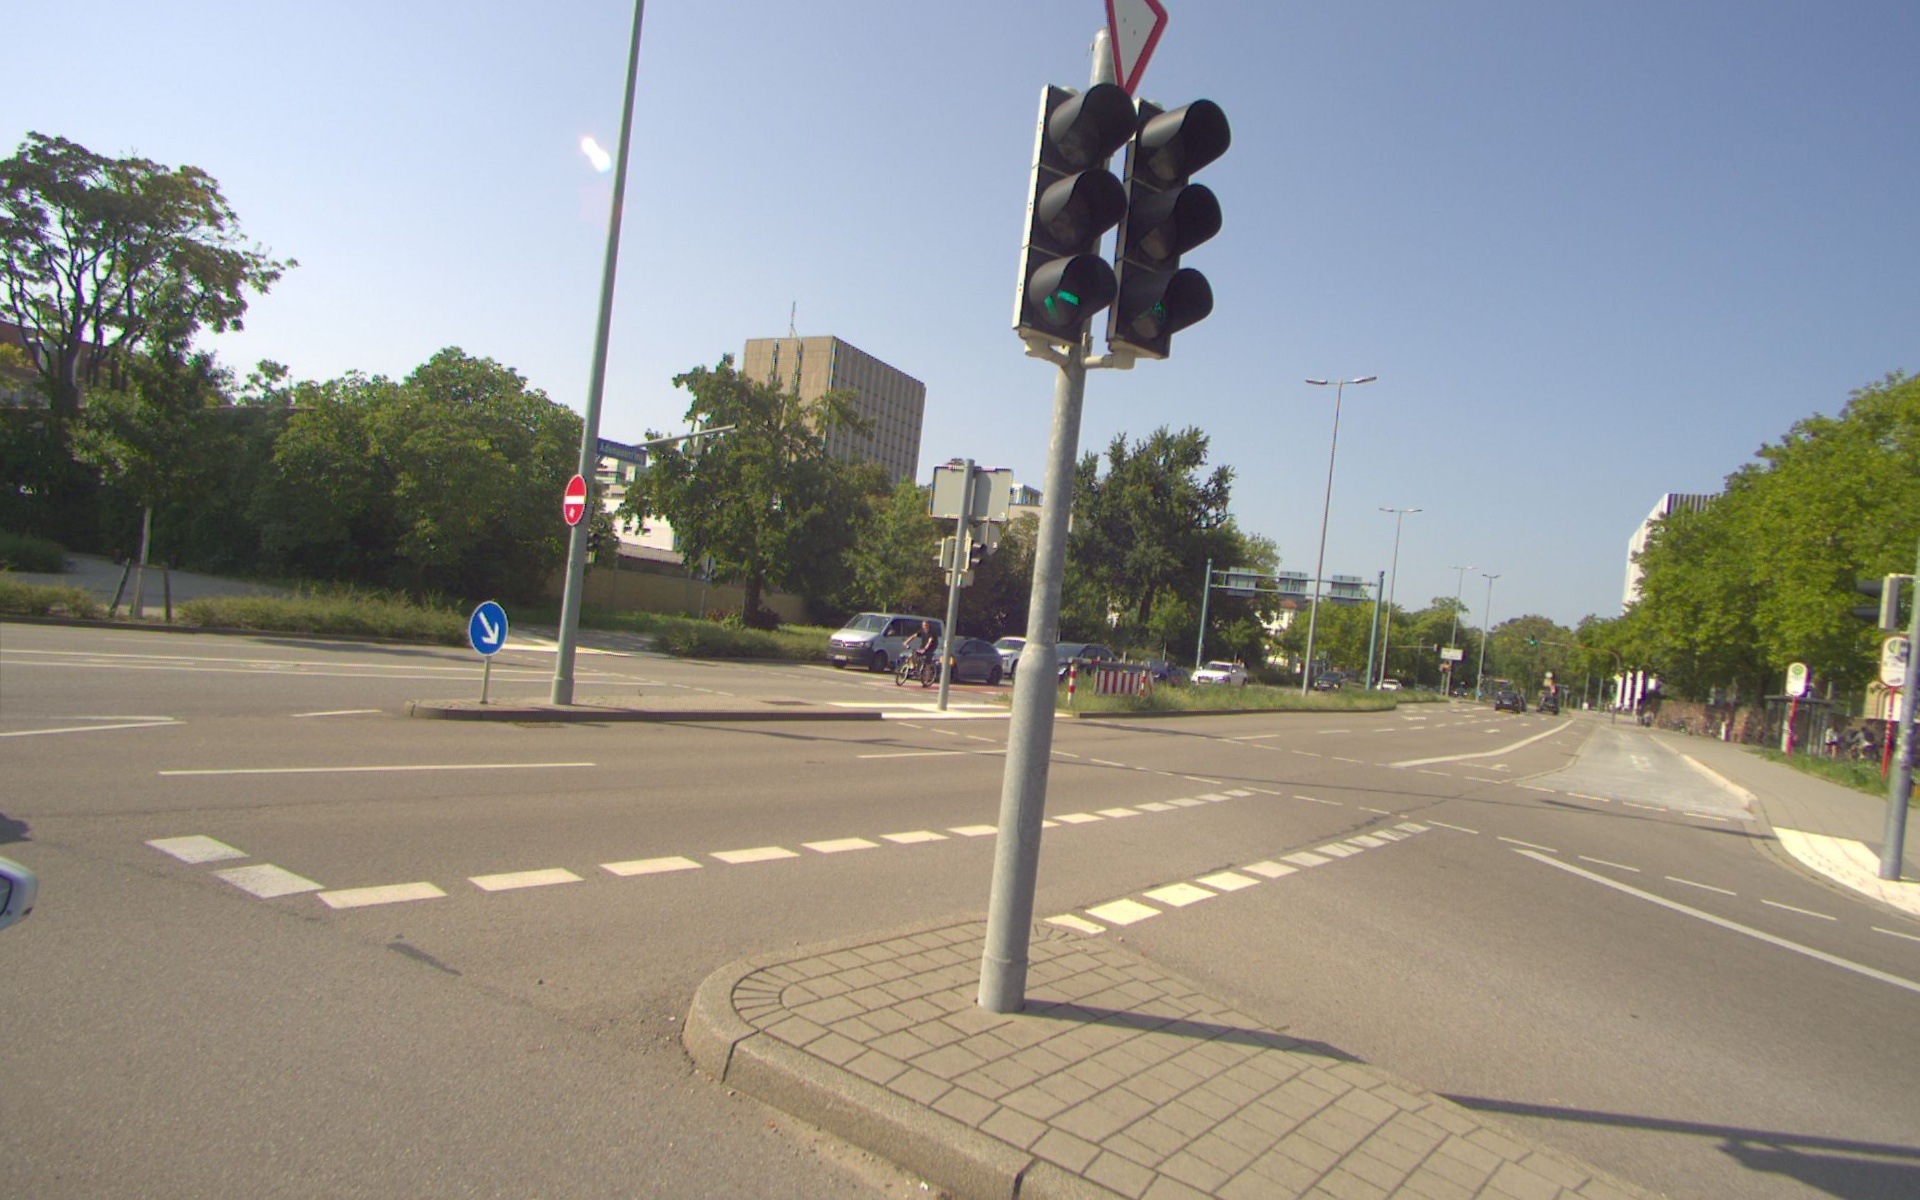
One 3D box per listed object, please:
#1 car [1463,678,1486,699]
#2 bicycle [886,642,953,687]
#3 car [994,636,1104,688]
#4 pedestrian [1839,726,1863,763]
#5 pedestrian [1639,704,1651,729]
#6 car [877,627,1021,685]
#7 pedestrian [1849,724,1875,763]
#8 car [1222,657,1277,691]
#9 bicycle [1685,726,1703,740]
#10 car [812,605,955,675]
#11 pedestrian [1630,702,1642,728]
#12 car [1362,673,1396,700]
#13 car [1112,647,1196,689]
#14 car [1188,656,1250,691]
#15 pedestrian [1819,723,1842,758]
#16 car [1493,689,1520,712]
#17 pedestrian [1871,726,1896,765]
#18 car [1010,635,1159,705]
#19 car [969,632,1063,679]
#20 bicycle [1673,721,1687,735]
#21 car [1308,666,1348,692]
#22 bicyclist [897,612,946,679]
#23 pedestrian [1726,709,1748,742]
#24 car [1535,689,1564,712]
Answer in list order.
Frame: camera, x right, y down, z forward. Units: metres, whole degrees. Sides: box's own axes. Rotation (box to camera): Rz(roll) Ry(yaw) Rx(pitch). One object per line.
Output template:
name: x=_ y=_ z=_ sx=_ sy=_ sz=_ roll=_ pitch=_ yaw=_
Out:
car: x=59.243 y=10.226 z=115.961 sx=1.885 sy=2.035 sz=4.003 roll=7 pitch=-3 yaw=24
bicycle: x=-1.056 y=1.716 z=26.700 sx=0.758 sy=1.065 sz=1.770 roll=7 pitch=0 yaw=34
car: x=3.393 y=2.338 z=37.540 sx=1.970 sy=1.523 sz=4.421 roll=6 pitch=-1 yaw=37
pedestrian: x=42.552 y=6.896 z=48.051 sx=0.474 sy=1.670 sz=0.595 roll=7 pitch=-2 yaw=14
pedestrian: x=48.887 y=8.303 z=71.779 sx=0.477 sy=1.759 sz=0.505 roll=7 pitch=-2 yaw=29
car: x=-0.245 y=1.805 z=31.816 sx=1.882 sy=1.417 sz=4.905 roll=6 pitch=-1 yaw=37
pedestrian: x=40.757 y=6.463 z=45.466 sx=0.510 sy=1.670 sz=0.595 roll=7 pitch=-2 yaw=14
car: x=16.710 y=4.281 z=57.938 sx=1.900 sy=1.680 sz=4.288 roll=6 pitch=-1 yaw=30
bicycle: x=49.950 y=9.039 z=68.451 sx=0.426 sy=0.845 sz=1.551 roll=6 pitch=-1 yaw=18
car: x=-2.452 y=1.387 z=33.656 sx=1.819 sy=1.897 sz=4.958 roll=6 pitch=-1 yaw=37
pedestrian: x=48.391 y=8.248 z=72.041 sx=0.477 sy=1.759 sz=0.505 roll=7 pitch=-2 yaw=29
car: x=29.731 y=6.127 z=71.303 sx=1.682 sy=1.593 sz=3.995 roll=6 pitch=-1 yaw=29
car: x=8.738 y=3.074 z=45.101 sx=1.969 sy=1.523 sz=4.282 roll=6 pitch=-1 yaw=36
car: x=13.549 y=3.859 z=52.446 sx=1.900 sy=1.523 sz=4.288 roll=6 pitch=-1 yaw=30
pedestrian: x=41.663 y=6.721 z=48.150 sx=0.525 sy=1.588 sz=0.503 roll=7 pitch=-2 yaw=12
car: x=43.121 y=7.909 z=79.337 sx=1.682 sy=1.593 sz=3.995 roll=6 pitch=-1 yaw=29
pedestrian: x=41.695 y=6.560 z=45.403 sx=0.474 sy=1.670 sz=0.595 roll=7 pitch=-2 yaw=14
car: x=3.535 y=1.982 z=27.767 sx=1.827 sy=1.597 sz=4.697 roll=4 pitch=-3 yaw=38
car: x=2.294 y=2.257 z=40.457 sx=1.783 sy=1.523 sz=3.956 roll=6 pitch=-1 yaw=37
bicycle: x=52.488 y=9.322 z=73.323 sx=0.426 sy=0.845 sz=1.549 roll=6 pitch=-1 yaw=25
car: x=27.043 y=5.830 z=73.927 sx=1.900 sy=1.680 sz=4.288 roll=6 pitch=-1 yaw=30
bicyclist: x=-1.018 y=1.208 z=26.667 sx=0.737 sy=1.655 sz=0.873 roll=7 pitch=0 yaw=34
pedestrian: x=49.198 y=7.946 z=63.729 sx=0.728 sy=1.975 sz=0.933 roll=7 pitch=-2 yaw=23
car: x=61.466 y=10.466 z=104.918 sx=1.885 sy=2.035 sz=4.003 roll=7 pitch=-3 yaw=24
